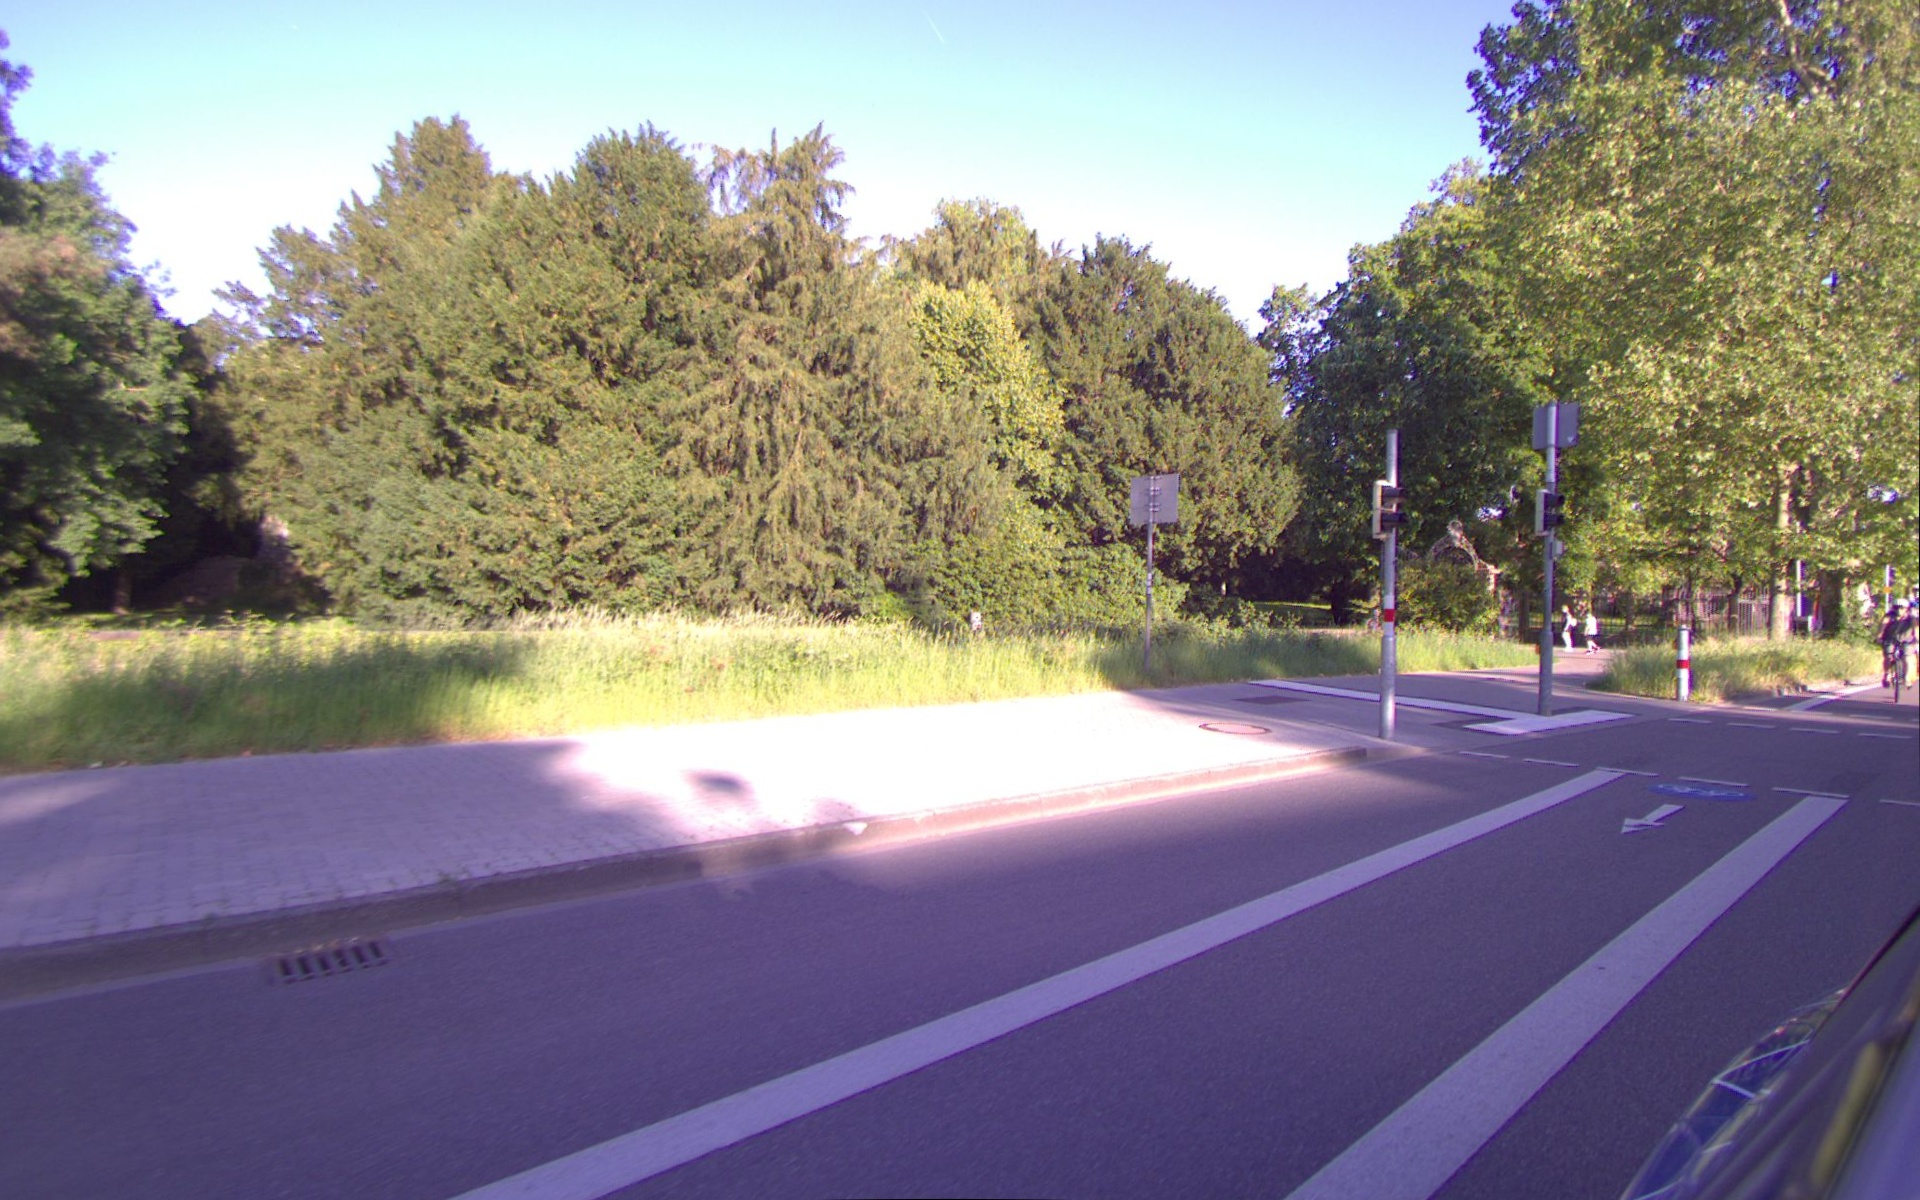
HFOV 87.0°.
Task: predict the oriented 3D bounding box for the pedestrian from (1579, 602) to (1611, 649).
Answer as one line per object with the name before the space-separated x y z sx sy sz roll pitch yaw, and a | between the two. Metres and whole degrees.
pedestrian | 21.545 0.867 34.327 0.667 1.565 0.693 1 0 -32

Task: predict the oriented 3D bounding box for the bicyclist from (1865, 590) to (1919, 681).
bicyclist | 16.036 0.590 17.245 0.784 1.509 0.696 1 0 -30

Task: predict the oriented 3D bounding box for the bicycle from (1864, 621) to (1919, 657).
bicycle | 30.983 1.269 33.087 0.682 1.109 1.992 1 1 -34

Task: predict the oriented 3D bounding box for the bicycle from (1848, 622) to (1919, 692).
bicycle | 16.053 0.948 17.274 2.093 1.109 0.696 1 0 -30

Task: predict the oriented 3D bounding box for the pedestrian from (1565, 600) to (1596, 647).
pedestrian | 22.296 0.840 36.378 0.667 1.654 0.693 1 0 -32

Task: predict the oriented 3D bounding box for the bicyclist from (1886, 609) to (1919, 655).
bicyclist | 30.948 1.034 33.133 0.682 1.466 0.767 1 0 -34

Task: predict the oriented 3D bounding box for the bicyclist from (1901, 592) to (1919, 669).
bicyclist | 19.542 0.613 20.469 0.878 1.520 0.694 1 0 -44
